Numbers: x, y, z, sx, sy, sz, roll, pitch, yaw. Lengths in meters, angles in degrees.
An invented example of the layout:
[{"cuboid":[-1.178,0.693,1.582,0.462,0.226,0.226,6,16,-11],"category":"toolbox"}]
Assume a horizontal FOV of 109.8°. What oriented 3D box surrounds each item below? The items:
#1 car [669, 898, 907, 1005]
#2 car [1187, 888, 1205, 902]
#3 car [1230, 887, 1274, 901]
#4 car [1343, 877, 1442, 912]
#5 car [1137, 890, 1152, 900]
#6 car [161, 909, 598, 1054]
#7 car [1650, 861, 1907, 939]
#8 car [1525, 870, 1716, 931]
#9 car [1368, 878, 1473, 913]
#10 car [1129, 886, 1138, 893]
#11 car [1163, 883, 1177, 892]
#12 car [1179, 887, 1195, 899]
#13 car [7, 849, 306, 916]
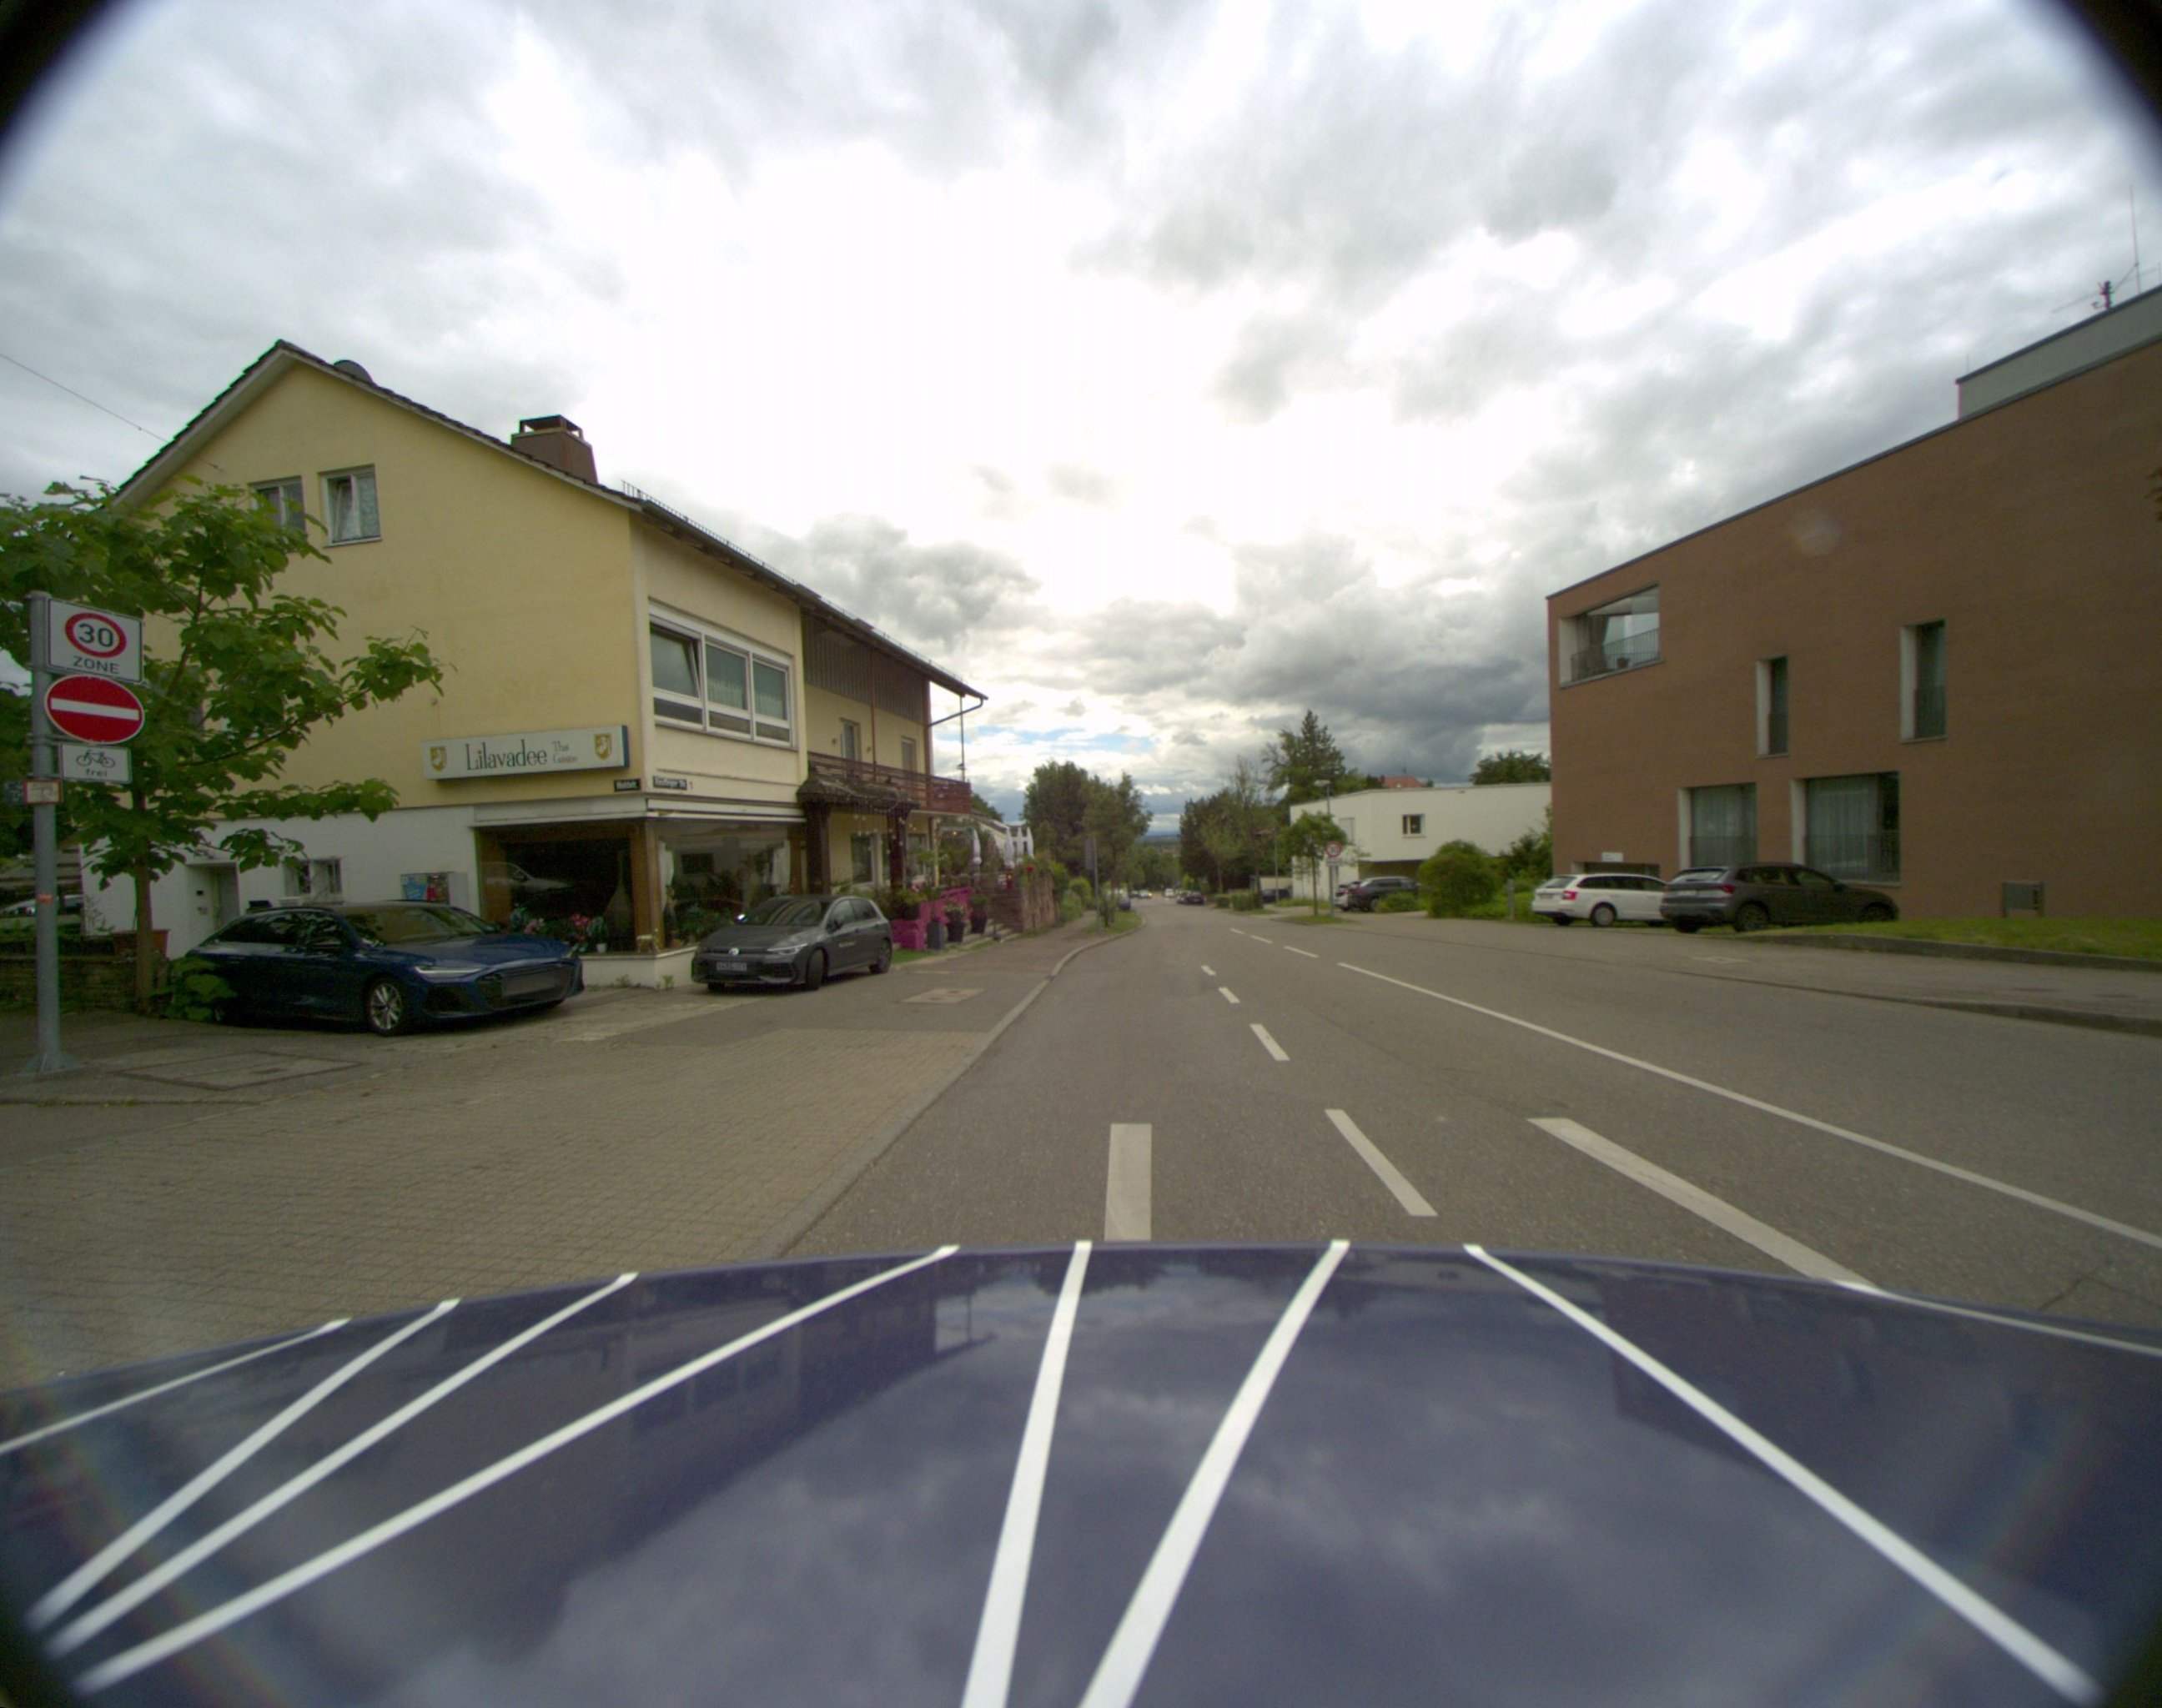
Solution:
[{"cuboid":[-4.547,1.479,12.623,1.796,1.452,4.332,-1,-4,8],"category":"car"},{"cuboid":[12.171,4.314,80.576,1.661,1.412,4.004,-2,-3,5],"category":"car"},{"cuboid":[16.538,3.898,73.728,3.995,1.278,1.665,-2,-3,7],"category":"car"},{"cuboid":[15.051,1.962,36.873,3.996,1.585,1.795,-2,-3,3],"category":"car"},{"cuboid":[10.458,6.656,124.685,1.884,1.412,4.368,-1,-1,-2],"category":"car"},{"cuboid":[-8.533,1.417,9.286,4.739,1.378,1.802,-2,-1,18],"category":"car"},{"cuboid":[14.908,0.977,16.381,3.998,1.476,1.727,-1,-3,-3],"category":"car"},{"cuboid":[14.611,1.256,20.711,3.998,1.476,1.727,-1,-3,-3],"category":"car"},{"cuboid":[15.595,1.902,35.034,3.996,1.476,1.728,-2,-3,3],"category":"car"},{"cuboid":[12.534,8.612,183.157,1.883,1.412,4.369,-1,-1,1],"category":"car"},{"cuboid":[16.192,6.097,137.971,1.884,1.412,4.368,-1,-1,-2],"category":"car"},{"cuboid":[12.487,4.572,89.574,1.661,1.412,4.372,-2,-3,6],"category":"car"},{"cuboid":[-22.641,0.765,18.878,1.795,1.452,4.336,-2,-4,22],"category":"car"}]
